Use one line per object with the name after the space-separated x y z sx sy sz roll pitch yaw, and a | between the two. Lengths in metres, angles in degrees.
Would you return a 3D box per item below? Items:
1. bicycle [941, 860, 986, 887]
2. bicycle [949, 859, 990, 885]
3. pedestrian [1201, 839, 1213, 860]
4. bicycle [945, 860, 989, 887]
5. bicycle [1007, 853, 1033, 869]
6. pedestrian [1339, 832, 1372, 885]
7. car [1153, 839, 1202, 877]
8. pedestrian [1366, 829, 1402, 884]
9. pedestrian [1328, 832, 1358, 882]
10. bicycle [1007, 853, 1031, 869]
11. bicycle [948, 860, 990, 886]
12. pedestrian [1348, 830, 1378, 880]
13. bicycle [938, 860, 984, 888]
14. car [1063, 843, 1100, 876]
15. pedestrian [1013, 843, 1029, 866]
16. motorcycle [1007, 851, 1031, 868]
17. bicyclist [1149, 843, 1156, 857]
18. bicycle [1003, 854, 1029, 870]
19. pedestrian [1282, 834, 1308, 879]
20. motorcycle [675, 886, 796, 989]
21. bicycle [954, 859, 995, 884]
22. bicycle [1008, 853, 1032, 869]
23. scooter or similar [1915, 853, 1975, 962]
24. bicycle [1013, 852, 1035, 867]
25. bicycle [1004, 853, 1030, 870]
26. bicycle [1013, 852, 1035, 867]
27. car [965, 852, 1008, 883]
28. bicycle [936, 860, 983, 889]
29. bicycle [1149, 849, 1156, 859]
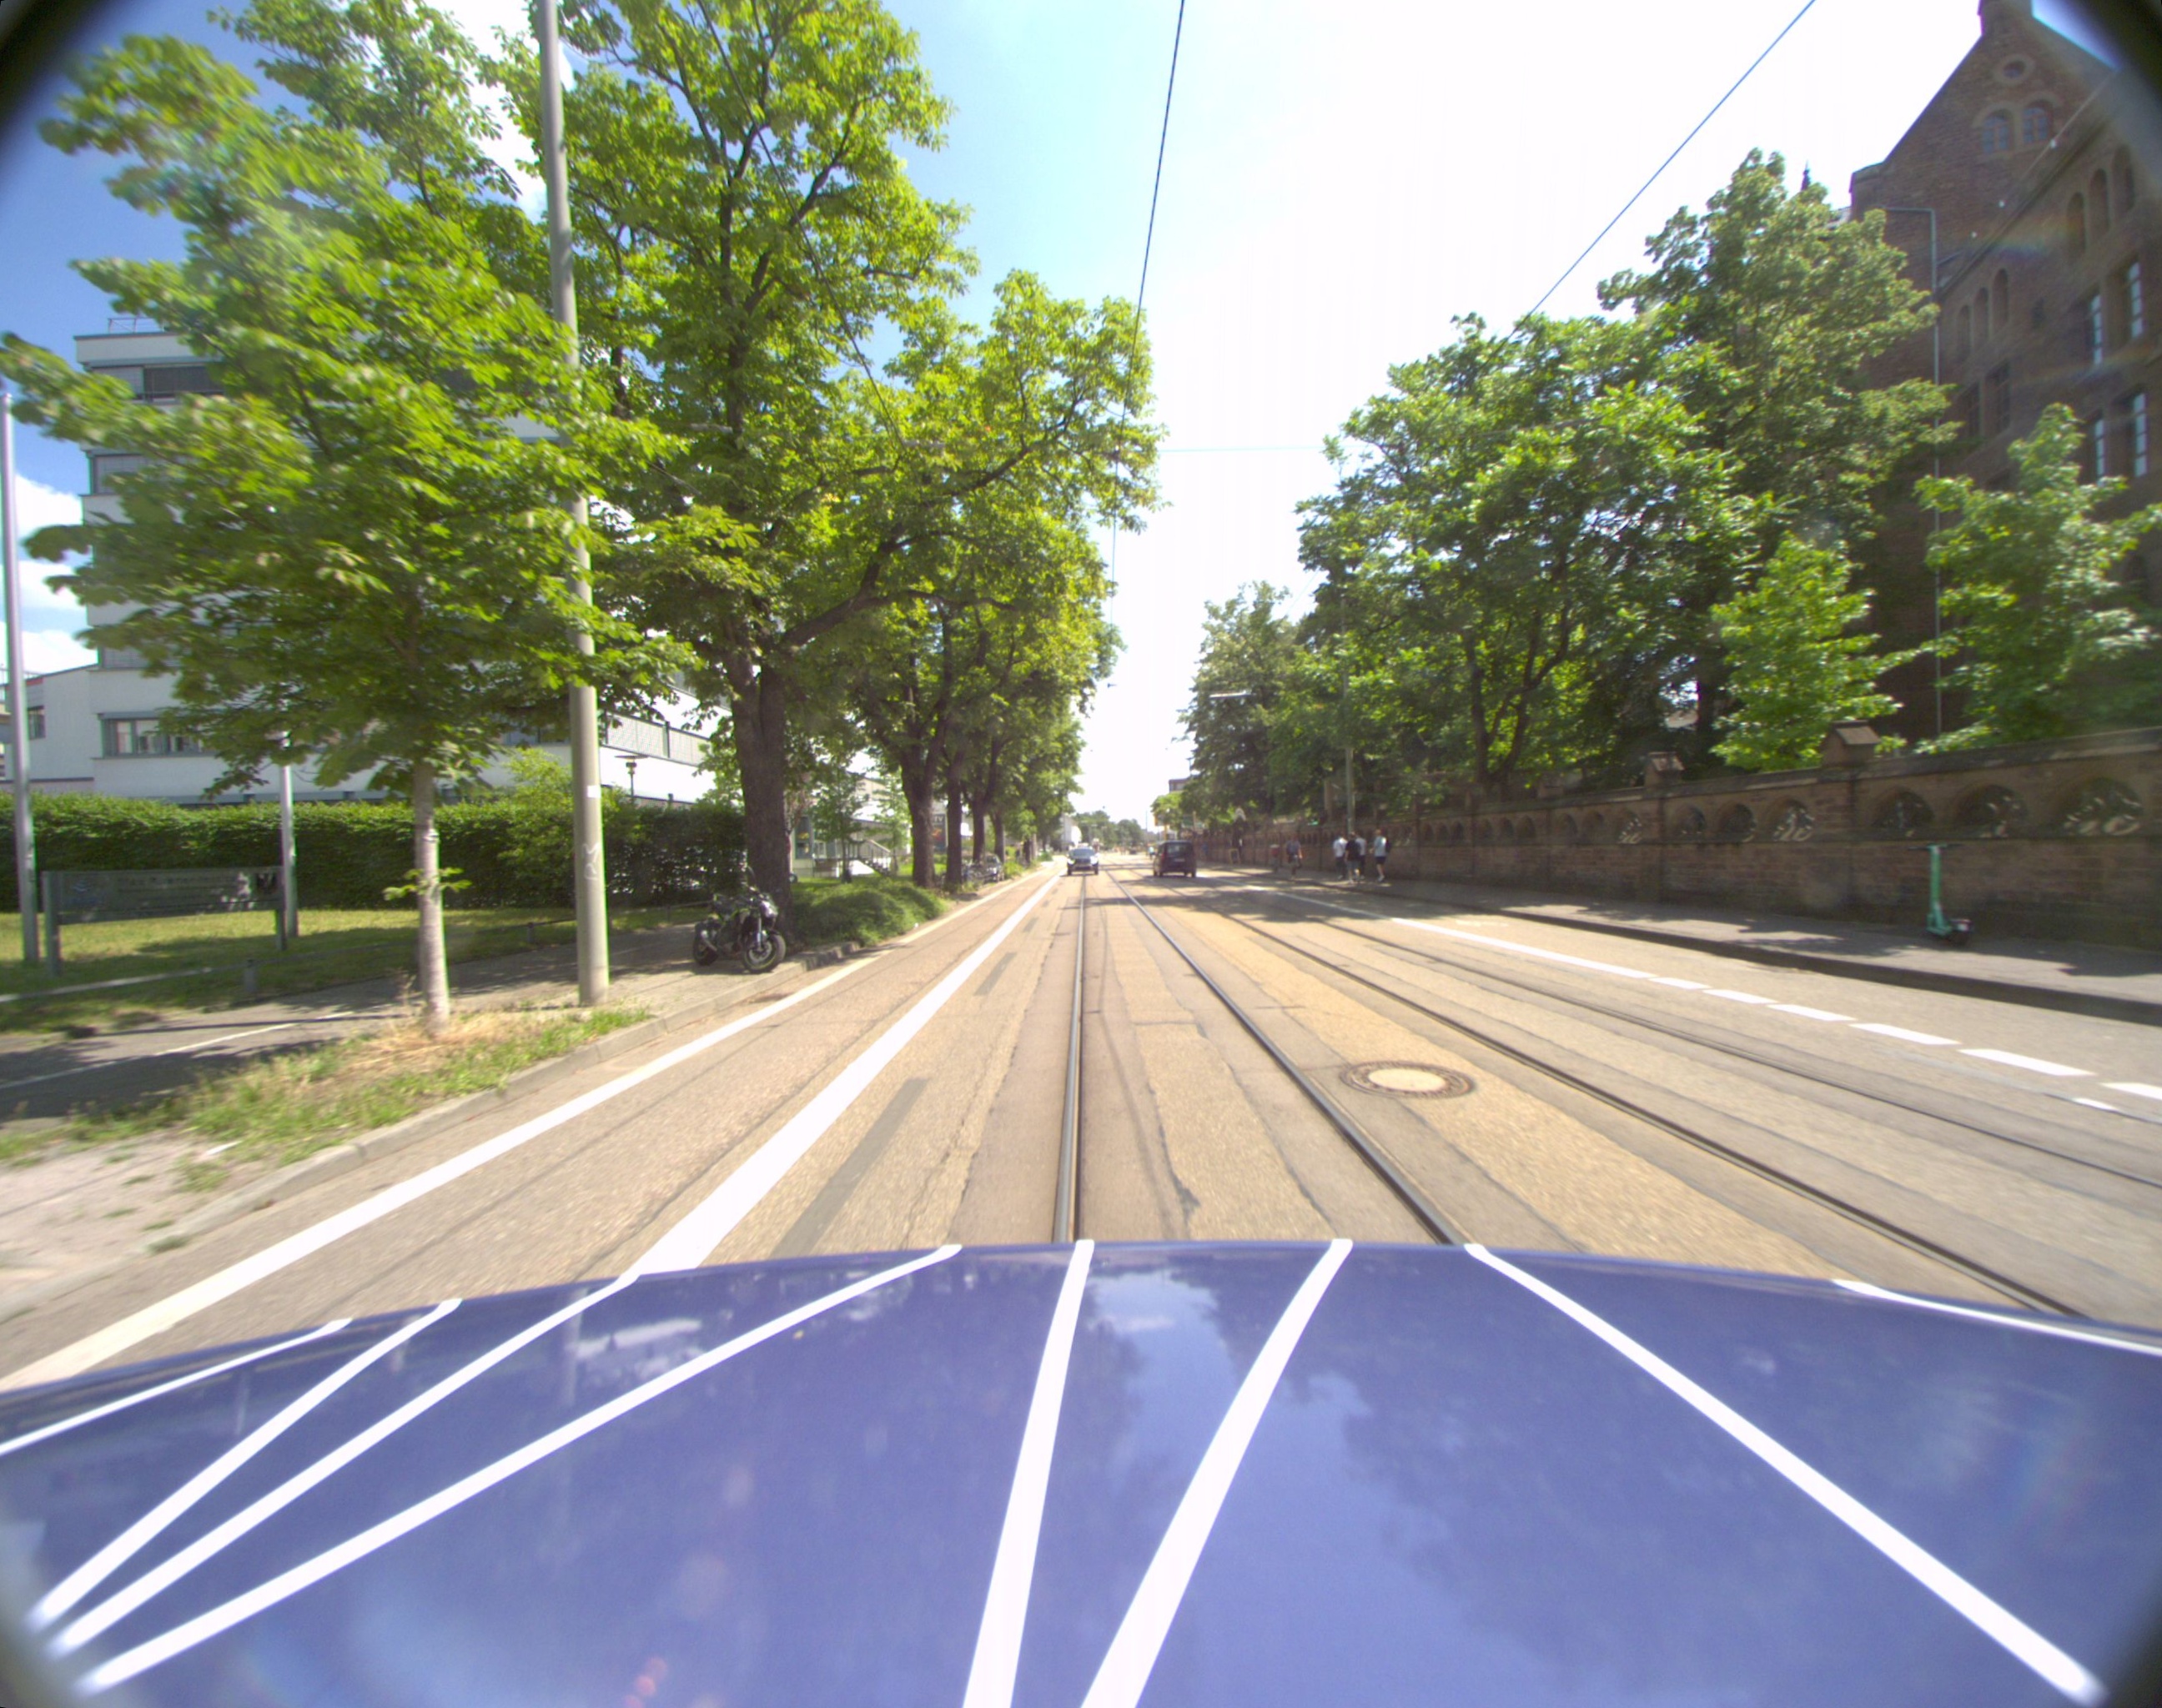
-4.904 0.816 31.717 1.812 1.105 0.395 -1 1 -2 | bicycle
-4.964 0.806 33.867 1.813 1.105 0.535 -1 1 -8 | bicycle
10.876 -0.369 65.574 0.750 1.738 0.919 -4 1 0 | pedestrian
-4.900 0.812 32.590 1.814 1.105 0.489 -1 1 -13 | bicycle
-4.616 0.536 57.542 1.813 1.105 0.569 -3 1 -3 | bicycle
9.325 0.140 25.882 0.679 1.738 0.919 -4 1 0 | pedestrian
4.787 0.178 38.315 1.909 1.778 4.255 -1 1 0 | car
10.315 0.077 25.895 0.754 1.766 0.919 -4 1 0 | pedestrian
9.637 0.100 27.966 0.679 1.780 0.919 -4 1 0 | pedestrian
-4.846 0.538 59.247 1.813 1.105 0.569 -3 1 -3 | bicycle
-4.898 0.814 33.247 1.813 1.105 0.533 -1 1 -8 | bicycle
10.430 0.046 28.117 0.679 1.766 0.919 -4 1 0 | pedestrian
-4.935 0.827 31.318 1.813 1.105 0.395 -1 1 -3 | bicycle
0.069 0.269 44.703 1.998 1.732 4.226 -3 1 0 | car
-5.042 0.051 63.618 0.986 1.822 0.786 -3 1 -43 | pedestrian
-4.993 0.433 60.896 1.819 1.269 0.720 -2 1 -7 | motorcycle
8.213 -0.489 87.242 0.665 1.616 0.919 0 1 0 | bicyclist
-4.806 0.593 56.219 1.846 1.105 0.569 -3 1 -3 | bicycle
8.913 0.106 31.678 0.723 1.781 0.919 -4 1 0 | pedestrian
-4.771 1.082 10.426 2.056 1.206 0.614 0 3 40 | motorcycle
-4.828 0.786 34.518 1.813 1.105 0.514 -1 1 -3 | bicycle
-4.662 0.538 58.133 1.813 1.105 0.569 -3 1 -3 | bicycle
10.030 0.585 8.838 0.348 1.120 1.227 -2 3 44 | scooter or similar
-4.808 0.460 64.340 1.819 1.158 0.710 -2 1 -7 | bicycle
-4.783 0.561 56.879 1.813 1.105 0.569 -3 1 -3 | bicycle
-4.725 0.471 63.034 1.819 1.158 0.710 -2 1 -7 | bicycle
-4.899 0.667 39.939 1.681 1.458 4.633 -1 1 0 | car
-4.926 0.831 30.887 1.812 1.105 0.449 -1 1 -3 | bicycle
8.206 0.006 87.189 0.661 1.156 1.895 0 1 0 | bicycle
